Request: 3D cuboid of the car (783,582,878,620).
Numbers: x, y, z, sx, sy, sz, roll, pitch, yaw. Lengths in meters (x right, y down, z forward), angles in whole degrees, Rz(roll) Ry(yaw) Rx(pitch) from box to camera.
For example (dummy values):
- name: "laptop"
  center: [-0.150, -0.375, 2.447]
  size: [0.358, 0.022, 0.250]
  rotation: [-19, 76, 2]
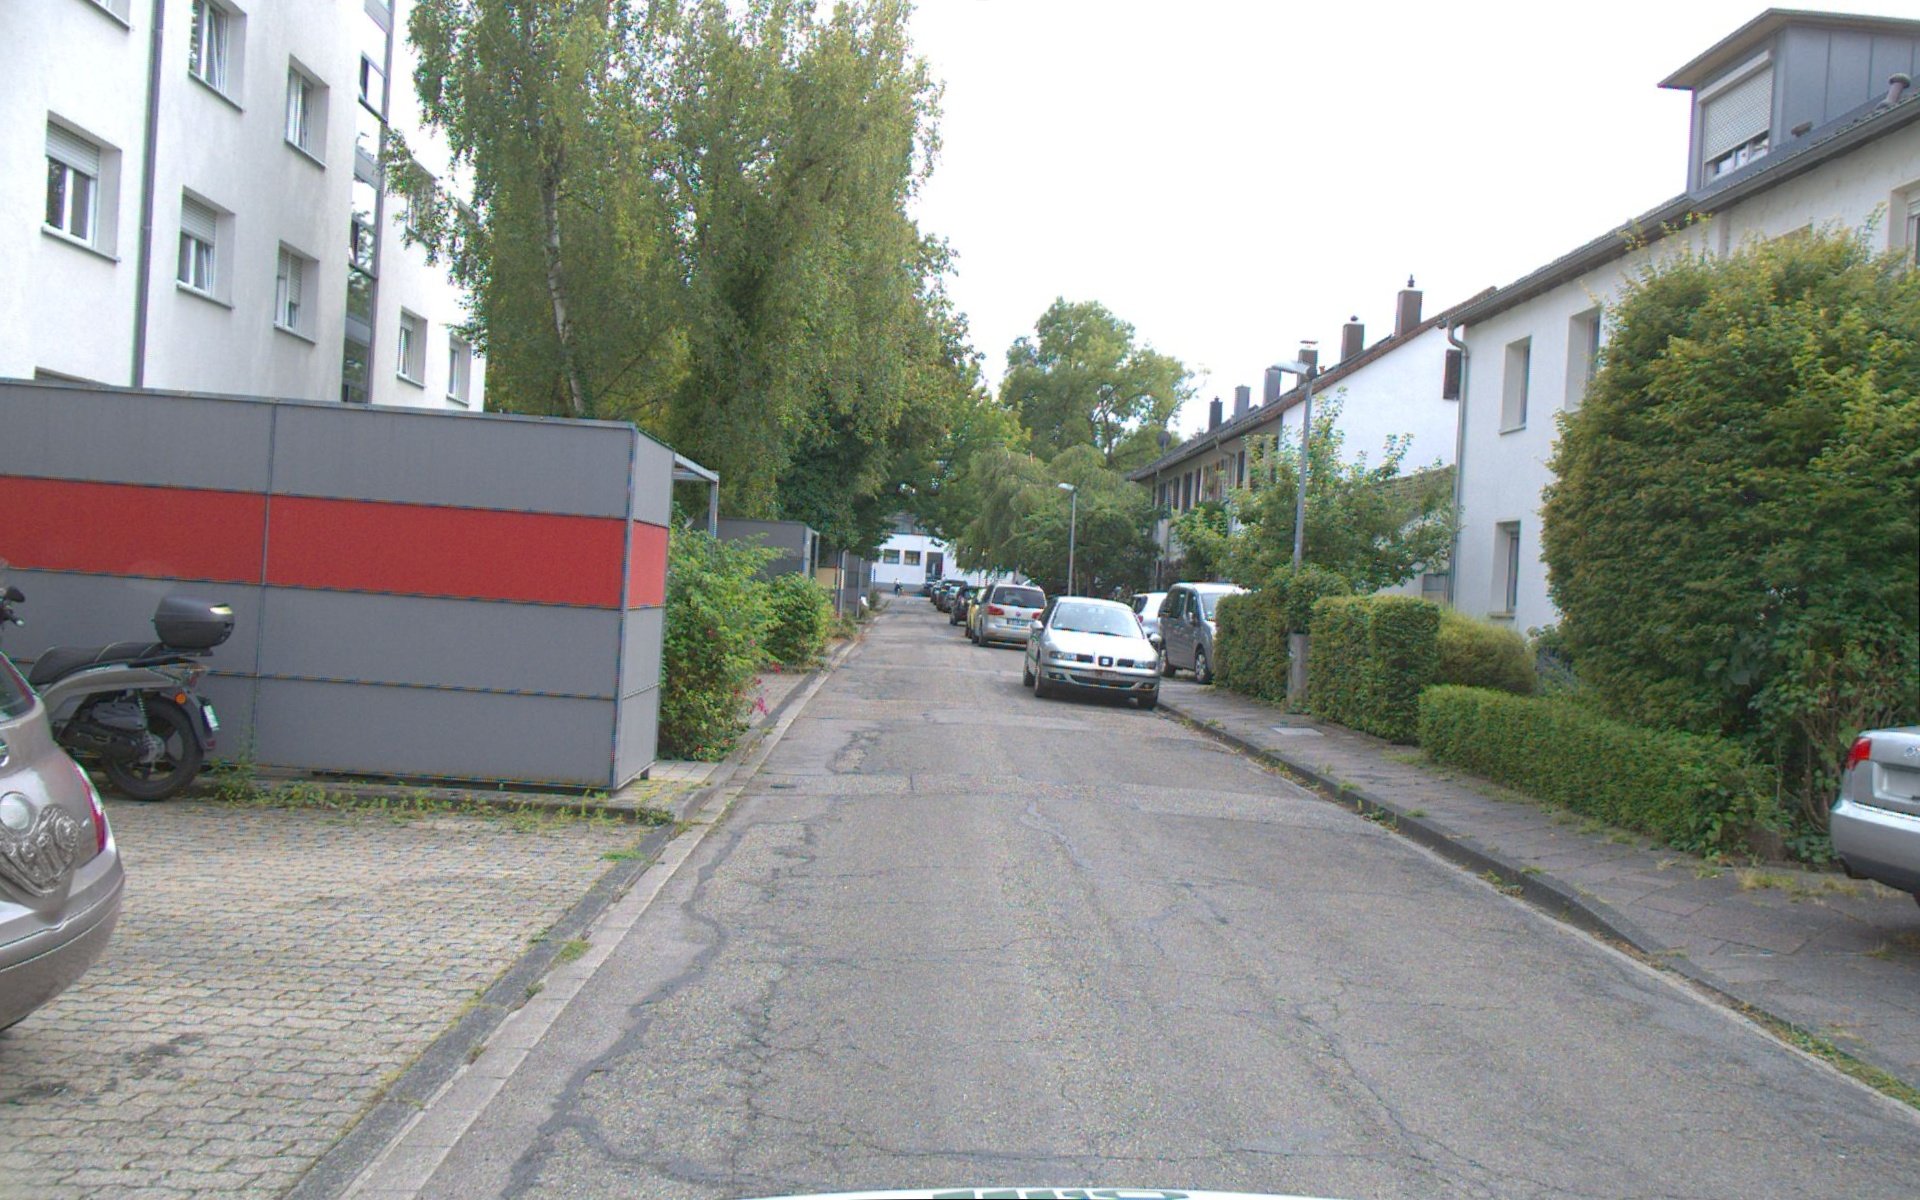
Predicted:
- name: "car"
  center: [-5.513, 0.030, 70.686]
  size: [3.951, 1.418, 1.737]
  rotation: [2, 0, -3]

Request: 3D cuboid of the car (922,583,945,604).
- name: "car"
  center: [-2.241, -0.591, 140.523]
  size: [1.789, 1.608, 3.999]
  rotation: [5, 0, -1]

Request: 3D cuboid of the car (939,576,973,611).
- name: "car"
  center: [-0.273, -0.410, 99.821]
  size: [1.789, 1.915, 3.999]
  rotation: [5, 0, -1]

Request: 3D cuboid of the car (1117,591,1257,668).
- name: "car"
  center: [4.992, 0.632, 36.613]
  size: [2.761, 1.596, 1.739]
  rotation: [1, 0, -5]

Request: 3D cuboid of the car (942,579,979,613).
- name: "car"
  center: [-0.003, -0.217, 88.069]
  size: [1.789, 1.608, 3.999]
  rotation: [5, 0, -1]

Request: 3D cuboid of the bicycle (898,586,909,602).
- name: "bicycle"
  center: [-4.365, -0.461, 127.873]
  size: [0.675, 1.151, 2.579]
  rotation: [5, 0, 0]

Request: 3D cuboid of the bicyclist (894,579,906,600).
- name: "bicyclist"
  center: [-4.649, -0.821, 128.043]
  size: [0.782, 1.537, 0.934]
  rotation: [5, 0, 0]

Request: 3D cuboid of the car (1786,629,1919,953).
- name: "car"
  center: [6.363, 0.938, 7.925]
  size: [3.944, 1.452, 1.850]
  rotation: [1, 1, -8]

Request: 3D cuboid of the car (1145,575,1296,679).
- name: "car"
  center: [4.800, 0.475, 31.090]
  size: [1.789, 1.808, 4.336]
  rotation: [1, 0, -5]

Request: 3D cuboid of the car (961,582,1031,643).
- name: "car"
  center: [1.042, 0.342, 49.431]
  size: [1.789, 1.608, 3.999]
  rotation: [5, 0, -1]

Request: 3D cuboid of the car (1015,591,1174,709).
- name: "car"
  center: [1.879, 0.660, 24.312]
  size: [1.789, 1.394, 4.330]
  rotation: [5, 0, -1]

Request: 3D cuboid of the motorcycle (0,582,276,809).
- name: "motorcycle"
  center: [-5.130, 0.516, 9.477]
  size: [2.098, 1.156, 0.635]
  rotation: [3, 2, -3]

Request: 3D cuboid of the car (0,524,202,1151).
- name: "car"
  center: [-4.056, 0.504, 4.148]
  size: [3.493, 1.506, 1.708]
  rotation: [2, 0, -6]

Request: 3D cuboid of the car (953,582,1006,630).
- name: "car"
  center: [0.712, 0.206, 63.061]
  size: [1.789, 1.608, 4.192]
  rotation: [5, 0, -1]

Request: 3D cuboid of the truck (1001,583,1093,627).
- name: "truck"
  center: [4.262, 0.235, 81.423]
  size: [4.302, 2.049, 1.999]
  rotation: [2, 0, -3]

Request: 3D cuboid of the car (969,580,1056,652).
- name: "car"
  center: [1.310, 0.371, 42.844]
  size: [1.789, 1.608, 3.998]
  rotation: [5, 0, -3]
